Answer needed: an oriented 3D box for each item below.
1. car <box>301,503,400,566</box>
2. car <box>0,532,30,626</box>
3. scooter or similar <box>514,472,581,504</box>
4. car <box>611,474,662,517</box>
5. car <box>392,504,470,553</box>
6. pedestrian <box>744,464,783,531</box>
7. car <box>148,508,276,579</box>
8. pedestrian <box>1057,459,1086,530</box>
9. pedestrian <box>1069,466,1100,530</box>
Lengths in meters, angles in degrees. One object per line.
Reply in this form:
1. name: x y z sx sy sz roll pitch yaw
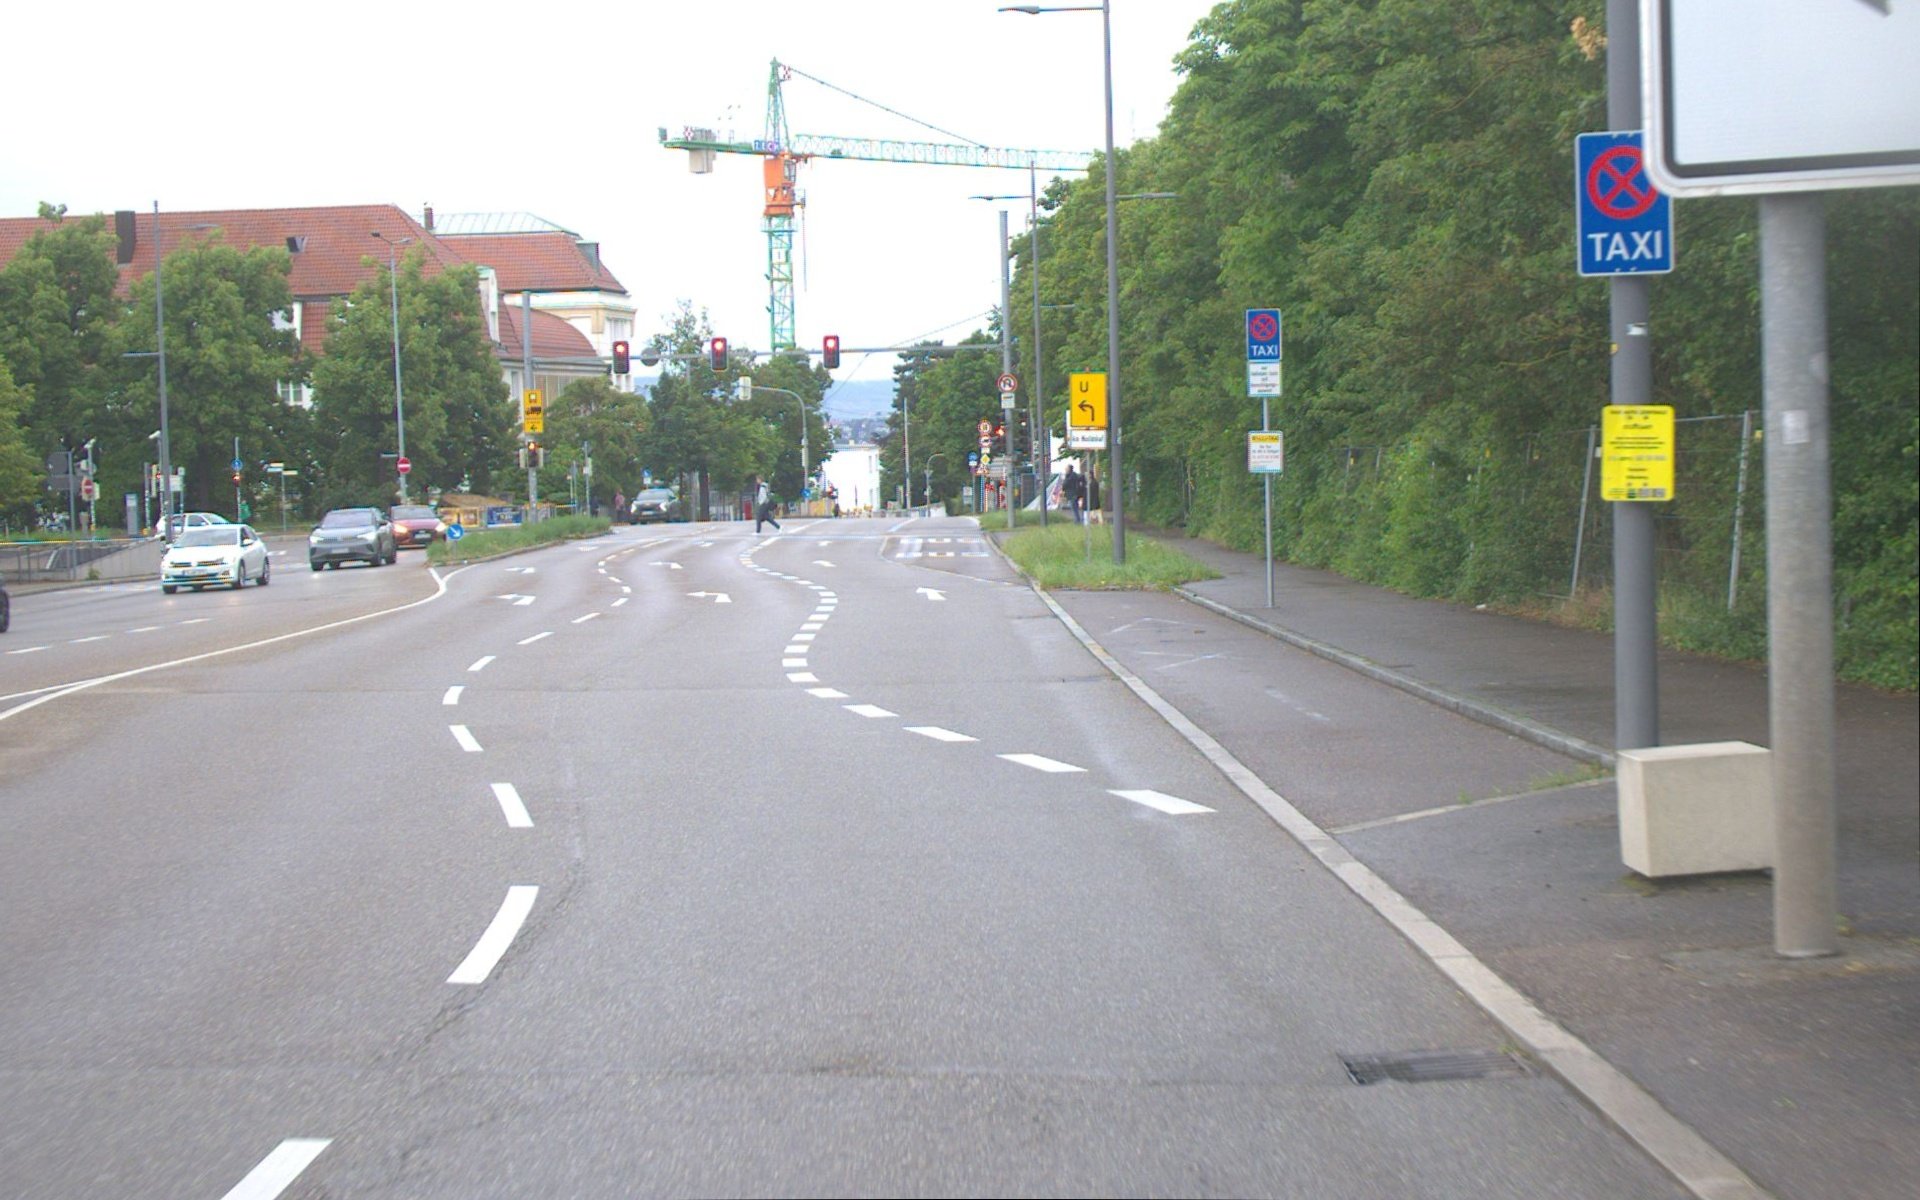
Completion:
1. car: -16.675 -1.799 94.266 1.831 1.566 4.594 -4 1 0
2. car: -15.825 -0.289 53.088 1.846 1.457 3.867 -2 1 0
3. scooter or similar: -19.945 -5.422 166.184 3.087 1.435 0.949 -2 2 -2
4. car: -14.605 -4.715 155.346 1.993 1.831 4.000 0 0 -2
5. car: -17.465 -2.383 113.714 1.831 1.411 4.466 -4 2 0
6. pedestrian: -6.062 -3.169 106.232 0.940 2.006 0.847 -4 2 5
7. car: -16.549 -1.253 76.251 1.873 1.425 4.176 -4 1 0
8. pedestrian: 3.040 -2.872 93.578 0.640 1.894 0.718 -2 2 -6
9. pedestrian: 3.228 -2.648 89.218 0.675 1.652 0.793 -2 2 -6
